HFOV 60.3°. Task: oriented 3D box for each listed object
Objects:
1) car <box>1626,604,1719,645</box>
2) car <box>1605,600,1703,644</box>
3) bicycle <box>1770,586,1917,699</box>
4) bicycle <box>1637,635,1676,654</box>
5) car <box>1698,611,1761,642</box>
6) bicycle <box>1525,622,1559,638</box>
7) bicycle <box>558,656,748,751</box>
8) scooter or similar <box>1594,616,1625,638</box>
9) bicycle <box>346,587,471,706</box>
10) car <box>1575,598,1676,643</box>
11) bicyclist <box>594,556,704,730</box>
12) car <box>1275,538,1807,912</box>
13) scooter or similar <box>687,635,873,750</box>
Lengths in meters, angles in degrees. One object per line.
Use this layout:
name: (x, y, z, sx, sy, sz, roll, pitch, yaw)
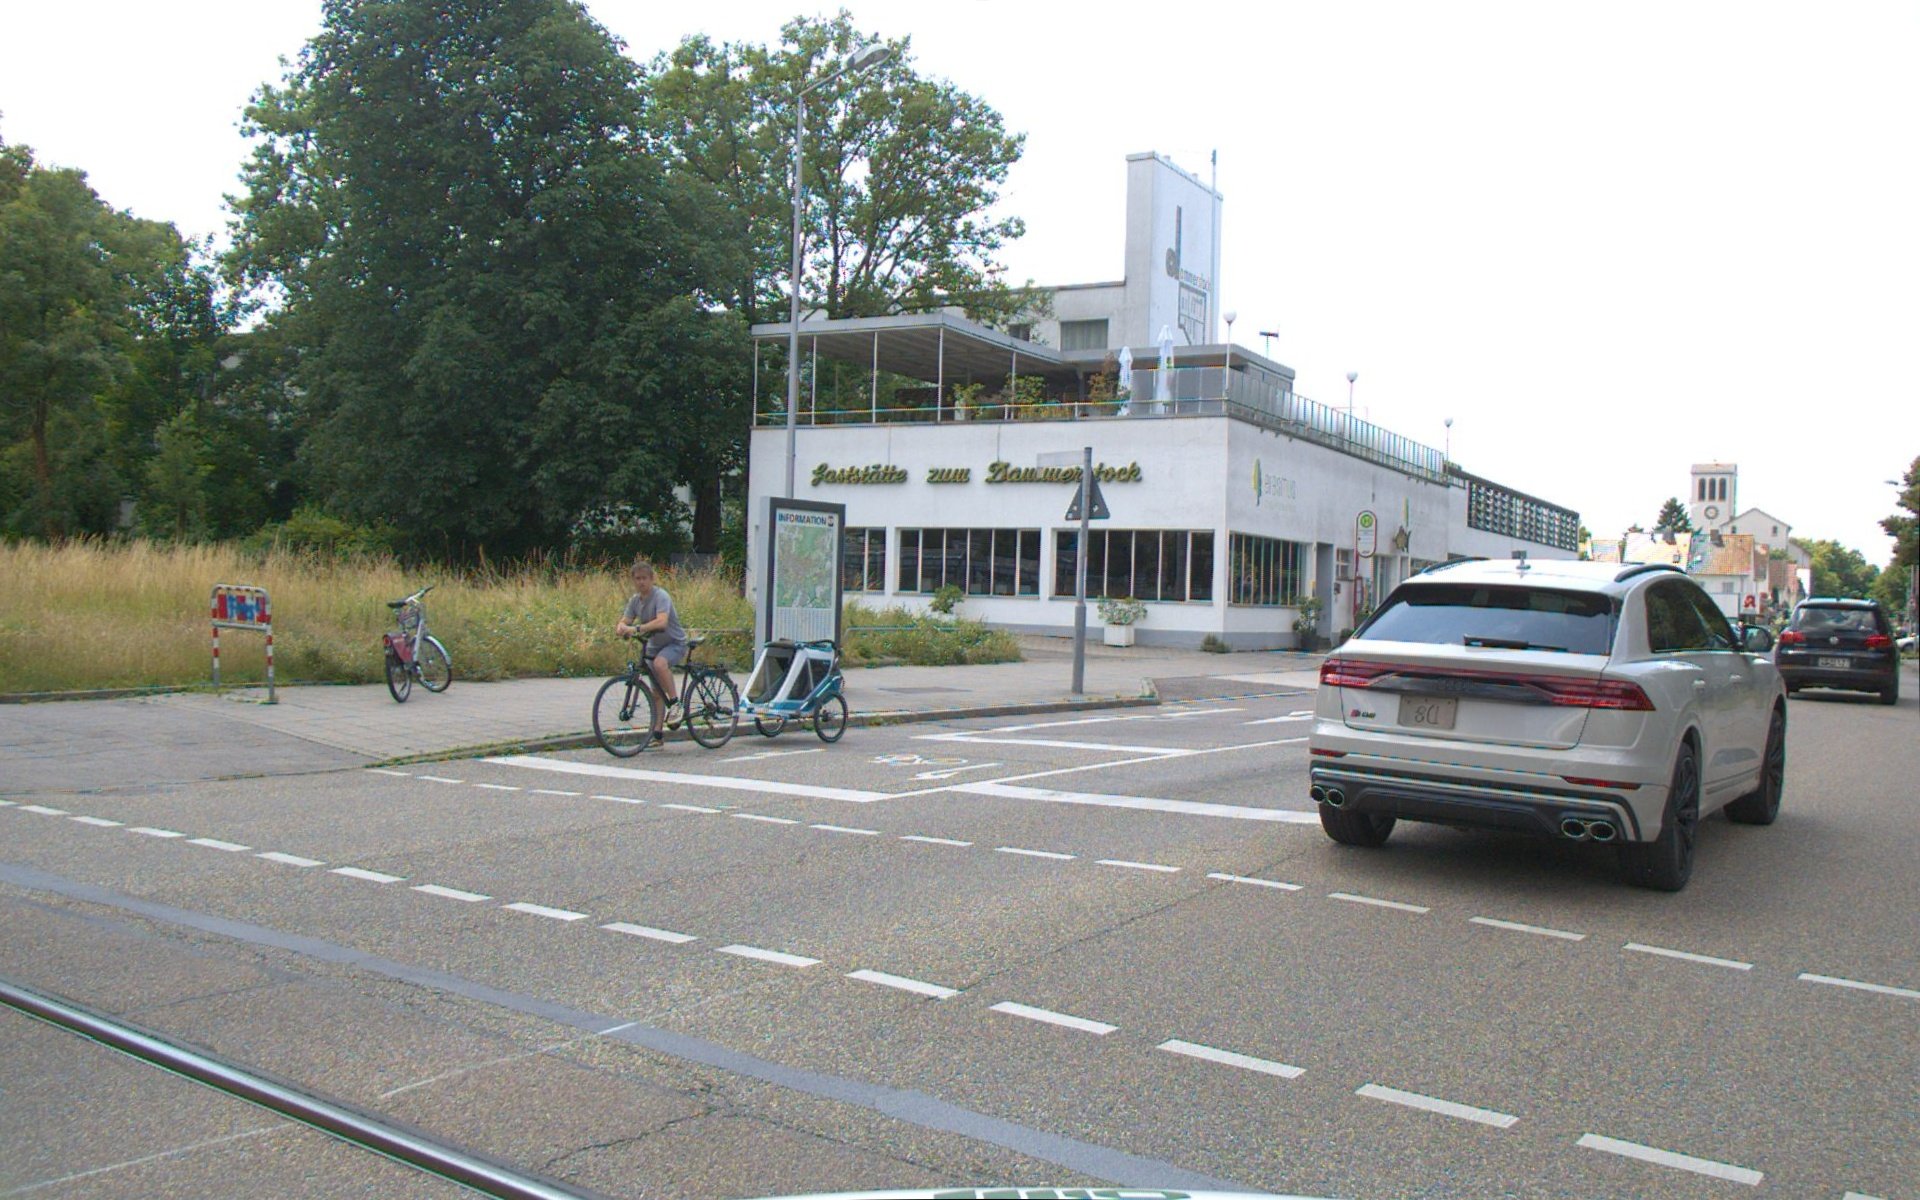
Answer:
car: (38.849, 1.346, 90.189, 4.540, 2.049, 1.999, 2, -1, 25)
car: (35.663, 1.124, 84.997, 4.540, 2.049, 1.999, 2, -1, 25)
bicycle: (14.877, 0.677, 28.044, 1.954, 1.704, 4.205, 2, 0, 25)
bicycle: (32.524, 2.064, 77.278, 1.636, 0.771, 0.570, 3, 0, 25)
car: (53.485, 1.841, 115.062, 3.907, 2.049, 1.999, 1, 0, 24)
bicycle: (31.572, 1.630, 89.751, 1.635, 0.771, 0.570, 3, 0, 3)
bicycle: (-2.724, 0.913, 14.839, 0.545, 0.778, 1.719, 1, -1, 39)
scooter or similar: (30.843, 1.292, 78.560, 0.610, 1.013, 1.995, 2, -1, -1)
bicycle: (-5.875, 0.469, 17.718, 0.684, 1.152, 1.661, 2, 2, 3)
car: (32.883, 1.012, 81.745, 4.540, 2.049, 1.999, 2, -1, 25)
bicyclist: (-2.765, 0.372, 14.740, 0.447, 1.501, 0.837, 1, 0, 39)
car: (3.803, 0.591, 10.220, 1.947, 1.713, 4.559, 3, 1, 34)
scooter or similar: (-1.712, 0.853, 15.890, 0.944, 0.997, 1.571, 1, 0, 39)
